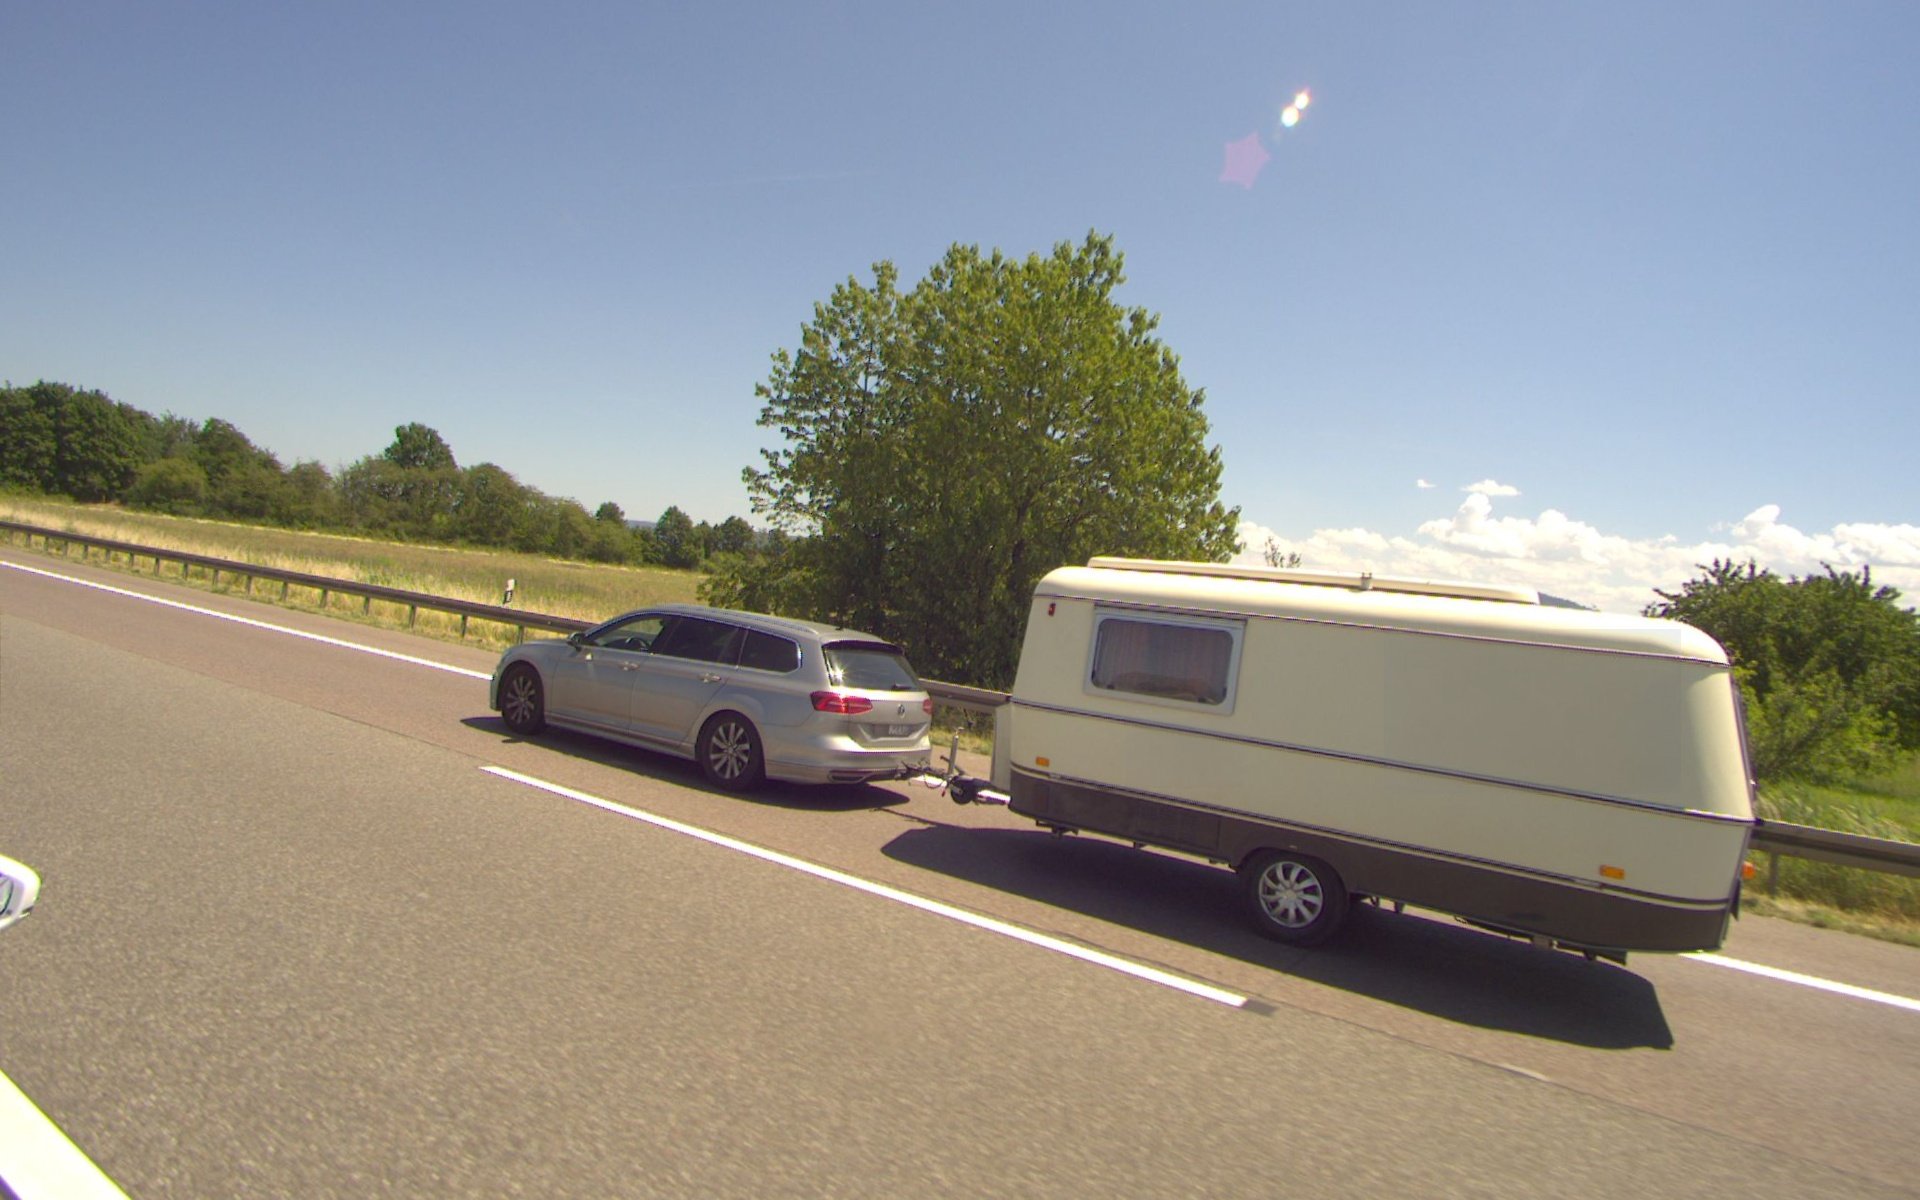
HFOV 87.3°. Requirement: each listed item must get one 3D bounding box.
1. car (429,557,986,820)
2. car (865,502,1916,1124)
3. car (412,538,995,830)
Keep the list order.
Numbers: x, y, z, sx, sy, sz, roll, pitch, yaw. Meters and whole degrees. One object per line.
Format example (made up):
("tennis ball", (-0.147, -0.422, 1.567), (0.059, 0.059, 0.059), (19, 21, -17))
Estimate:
("car", (-2.579, 0.695, 9.619), (5.291, 1.532, 1.891), (7, -2, 32))
("car", (2.320, 0.880, 6.728), (5.231, 2.351, 2.445), (8, 1, 31))
("car", (-2.600, 0.604, 9.609), (5.417, 1.678, 2.048), (8, 0, 31))
